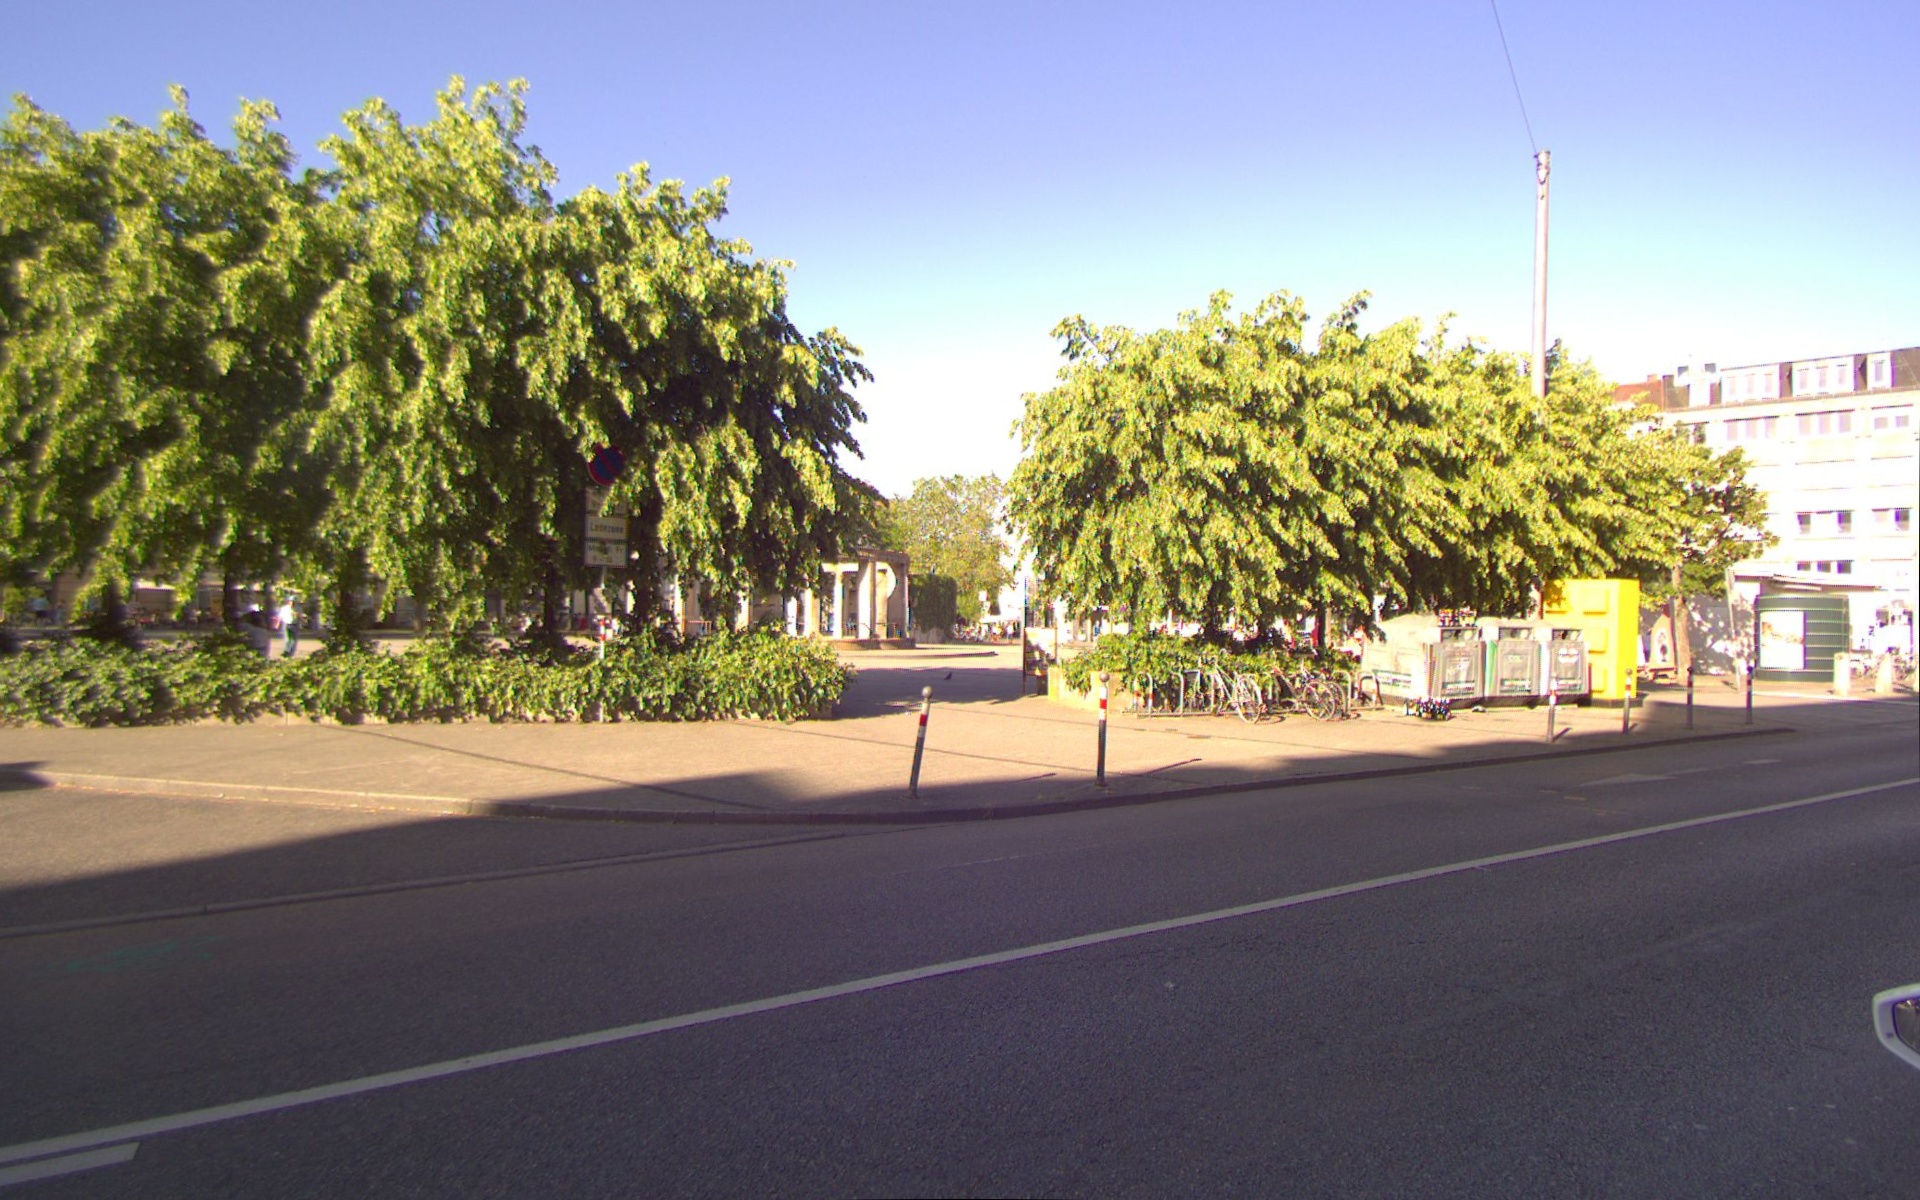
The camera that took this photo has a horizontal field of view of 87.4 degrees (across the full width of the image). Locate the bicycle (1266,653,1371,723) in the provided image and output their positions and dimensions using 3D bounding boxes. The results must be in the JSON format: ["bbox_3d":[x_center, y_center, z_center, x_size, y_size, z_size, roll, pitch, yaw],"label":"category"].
[{"bbox_3d":[5.820,1.402,16.416,0.508,0.968,1.898,2,0,-20],"label":"bicycle"}]

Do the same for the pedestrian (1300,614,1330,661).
[{"bbox_3d":[13.348,1.408,37.801,0.774,1.720,0.763,1,0,-6],"label":"pedestrian"}]

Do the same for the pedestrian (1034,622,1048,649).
[{"bbox_3d":[6.342,2.761,78.591,0.860,2.040,0.902,2,0,-5],"label":"pedestrian"}]

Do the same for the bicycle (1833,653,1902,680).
[{"bbox_3d":[30.815,2.245,34.126,0.600,0.802,1.634,2,0,-33],"label":"bicycle"}]

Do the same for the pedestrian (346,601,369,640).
[{"bbox_3d":[-26.745,0.909,44.585,0.599,1.744,0.644,2,0,37],"label":"pedestrian"}]

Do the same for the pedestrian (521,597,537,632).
[{"bbox_3d":[-24.629,0.805,57.382,0.669,1.974,0.634,2,0,-33],"label":"pedestrian"}]

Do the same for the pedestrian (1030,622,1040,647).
[{"bbox_3d":[6.051,2.788,81.276,0.628,1.974,0.676,2,0,-7],"label":"pedestrian"}]

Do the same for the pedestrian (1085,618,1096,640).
[{"bbox_3d":[12.912,2.852,99.479,0.860,2.199,0.902,2,0,-5],"label":"pedestrian"}]

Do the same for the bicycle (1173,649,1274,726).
[{"bbox_3d":[4.064,1.326,15.655,0.508,1.029,1.930,2,0,-19],"label":"bicycle"}]

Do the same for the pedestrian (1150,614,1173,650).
[{"bbox_3d":[11.539,1.844,57.578,1.014,2.040,1.159,1,-1,-5],"label":"pedestrian"}]

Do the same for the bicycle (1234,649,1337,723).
[{"bbox_3d":[5.238,1.363,16.303,0.508,1.016,1.923,2,0,-20],"label":"bicycle"}]

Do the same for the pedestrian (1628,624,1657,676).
[{"bbox_3d":[23.434,1.715,34.482,0.700,1.739,0.475,2,0,-19],"label":"pedestrian"}]

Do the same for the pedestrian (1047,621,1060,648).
[{"bbox_3d":[7.309,2.677,78.674,0.860,2.040,0.902,2,0,-5],"label":"pedestrian"}]

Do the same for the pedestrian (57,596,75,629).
[{"bbox_3d":[-47.297,0.654,53.118,0.600,1.744,0.643,2,0,45],"label":"pedestrian"}]

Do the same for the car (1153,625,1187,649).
[{"bbox_3d":[13.475,2.374,64.595,1.658,1.405,3.575,1,-1,5],"label":"car"}]

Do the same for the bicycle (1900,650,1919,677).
[{"bbox_3d":[35.081,2.332,36.038,0.599,0.946,1.854,2,0,-30],"label":"bicycle"}]

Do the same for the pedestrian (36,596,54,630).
[{"bbox_3d":[-48.412,0.677,53.126,0.600,1.744,0.643,2,0,45],"label":"pedestrian"}]

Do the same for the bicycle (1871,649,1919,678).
[{"bbox_3d":[33.179,2.227,35.116,0.599,0.946,1.855,2,0,-30],"label":"bicycle"}]

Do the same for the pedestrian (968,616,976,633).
[{"bbox_3d":[1.386,2.868,116.473,0.629,1.974,0.675,2,0,-14],"label":"pedestrian"}]

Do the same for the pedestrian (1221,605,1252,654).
[{"bbox_3d":[11.684,1.240,42.481,0.875,2.040,0.896,1,0,-17],"label":"pedestrian"}]

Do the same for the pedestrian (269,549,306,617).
[{"bbox_3d":[-17.542,-0.440,26.211,0.599,1.744,0.644,2,0,41],"label":"pedestrian"}]
